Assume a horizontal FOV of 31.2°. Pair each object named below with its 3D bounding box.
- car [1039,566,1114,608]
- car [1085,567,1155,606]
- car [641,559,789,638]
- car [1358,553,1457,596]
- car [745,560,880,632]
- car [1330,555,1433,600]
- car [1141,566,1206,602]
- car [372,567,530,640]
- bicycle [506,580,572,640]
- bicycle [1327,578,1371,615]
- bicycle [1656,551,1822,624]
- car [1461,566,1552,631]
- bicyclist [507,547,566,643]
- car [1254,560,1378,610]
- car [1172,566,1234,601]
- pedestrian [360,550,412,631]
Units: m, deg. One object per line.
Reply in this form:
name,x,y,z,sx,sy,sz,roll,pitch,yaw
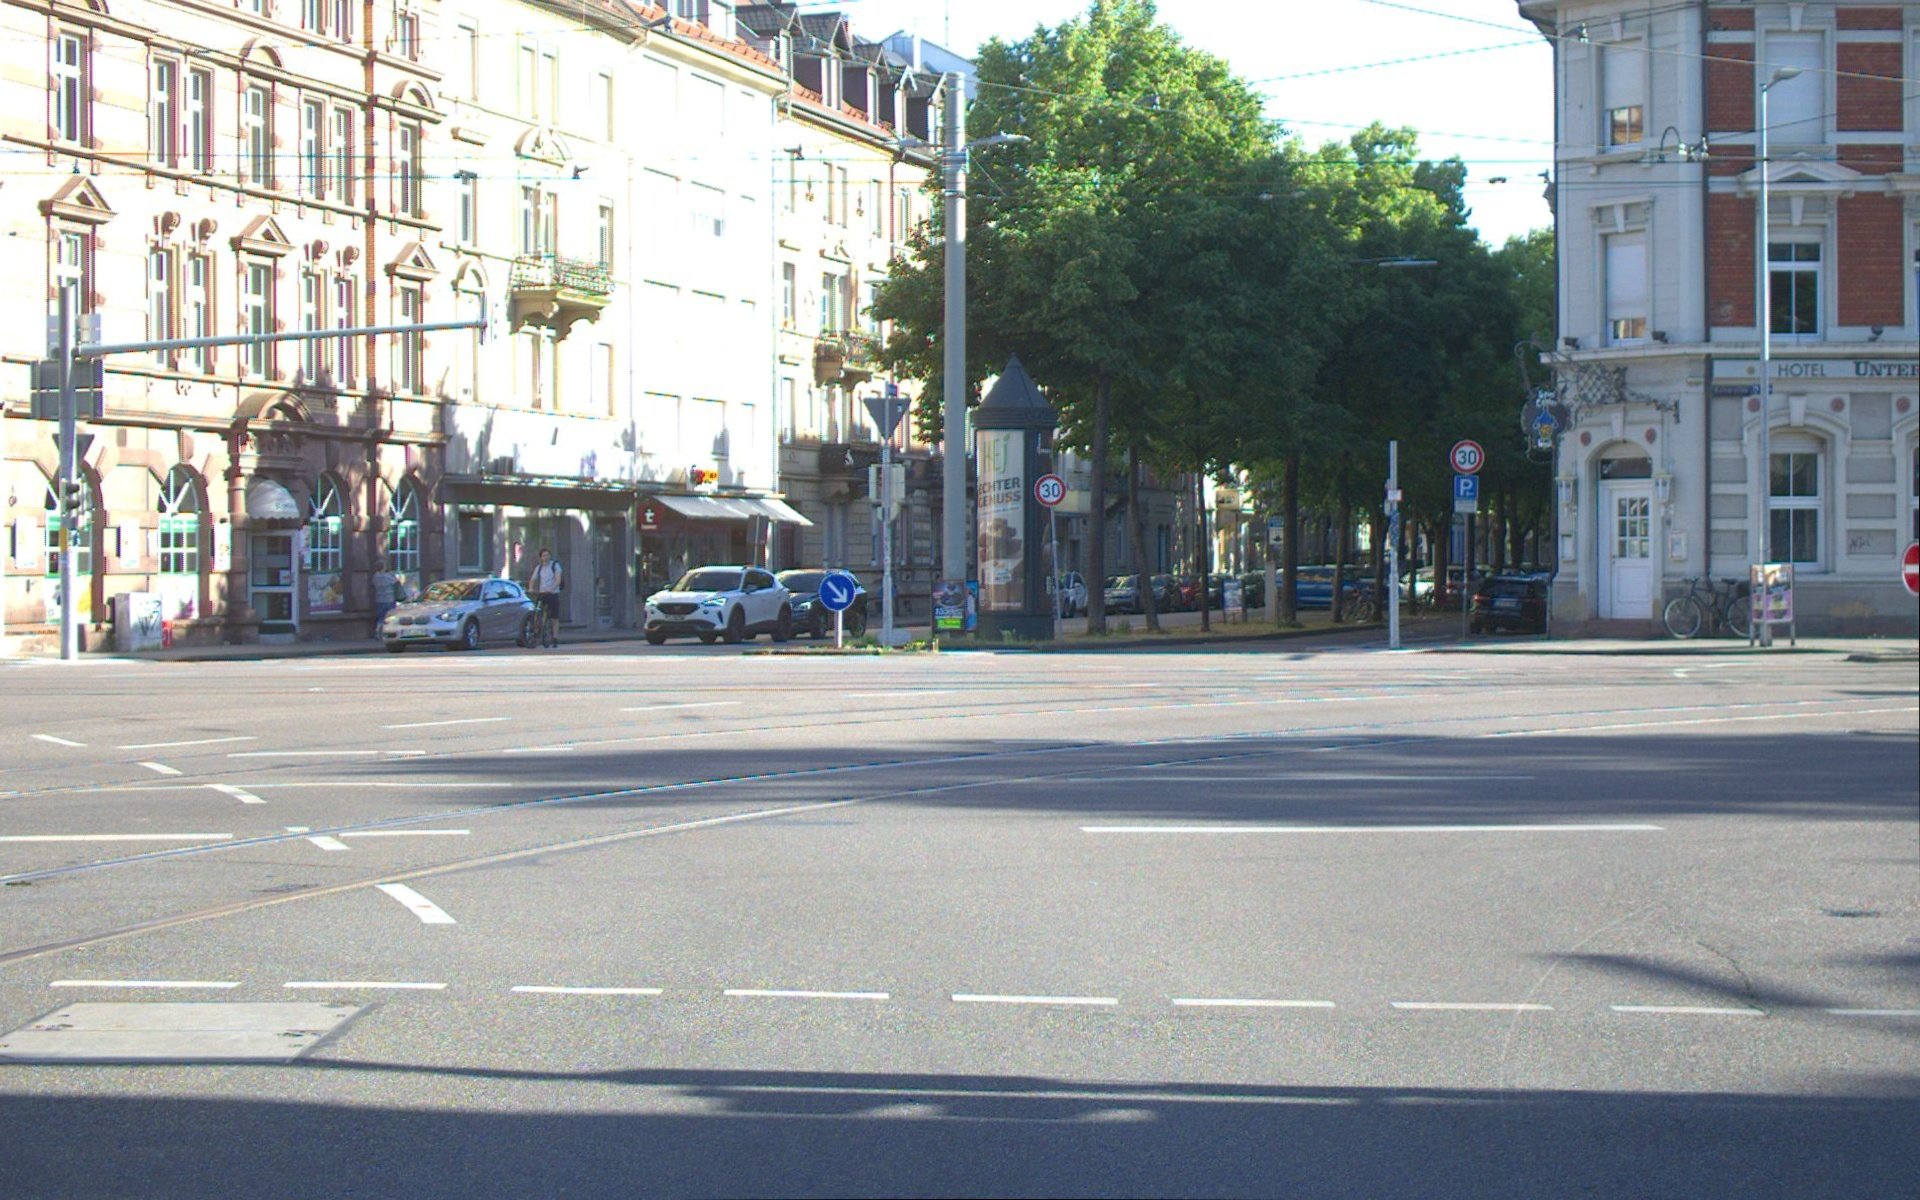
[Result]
car,3.930,-0.448,115.472,1.678,1.349,3.588,0,1,17
car,5.701,-0.489,122.434,1.678,1.349,3.588,0,1,17
car,-4.765,-0.057,67.306,1.678,1.478,3.768,0,1,17
car,17.384,-1.001,133.499,3.582,1.642,1.681,0,1,17
car,-3.123,-0.107,73.608,1.678,1.478,3.945,0,1,16
car,15.710,-0.847,128.026,3.582,1.642,1.681,0,1,17
car,8.137,-0.618,130.740,1.678,1.349,3.588,0,1,17
car,-9.876,0.049,66.903,1.678,1.349,3.588,0,1,17
bicycle,-7.983,0.178,65.258,0.702,1.114,1.634,1,1,13
bicycle,11.258,-0.105,99.477,0.636,1.018,1.847,1,1,-14
bicycle,12.966,-0.207,57.268,2.554,1.170,0.819,1,0,-3
car,13.146,-0.057,82.567,1.678,1.478,3.945,0,1,16
bicyclist,-8.018,-0.094,65.131,0.779,1.797,1.055,1,0,14
car,11.988,-0.511,115.671,3.905,1.642,1.681,0,1,17
car,9.609,-0.657,135.771,1.678,1.349,3.588,0,1,17
pedestrian,-11.965,-0.202,71.633,0.776,1.664,0.830,1,0,15
